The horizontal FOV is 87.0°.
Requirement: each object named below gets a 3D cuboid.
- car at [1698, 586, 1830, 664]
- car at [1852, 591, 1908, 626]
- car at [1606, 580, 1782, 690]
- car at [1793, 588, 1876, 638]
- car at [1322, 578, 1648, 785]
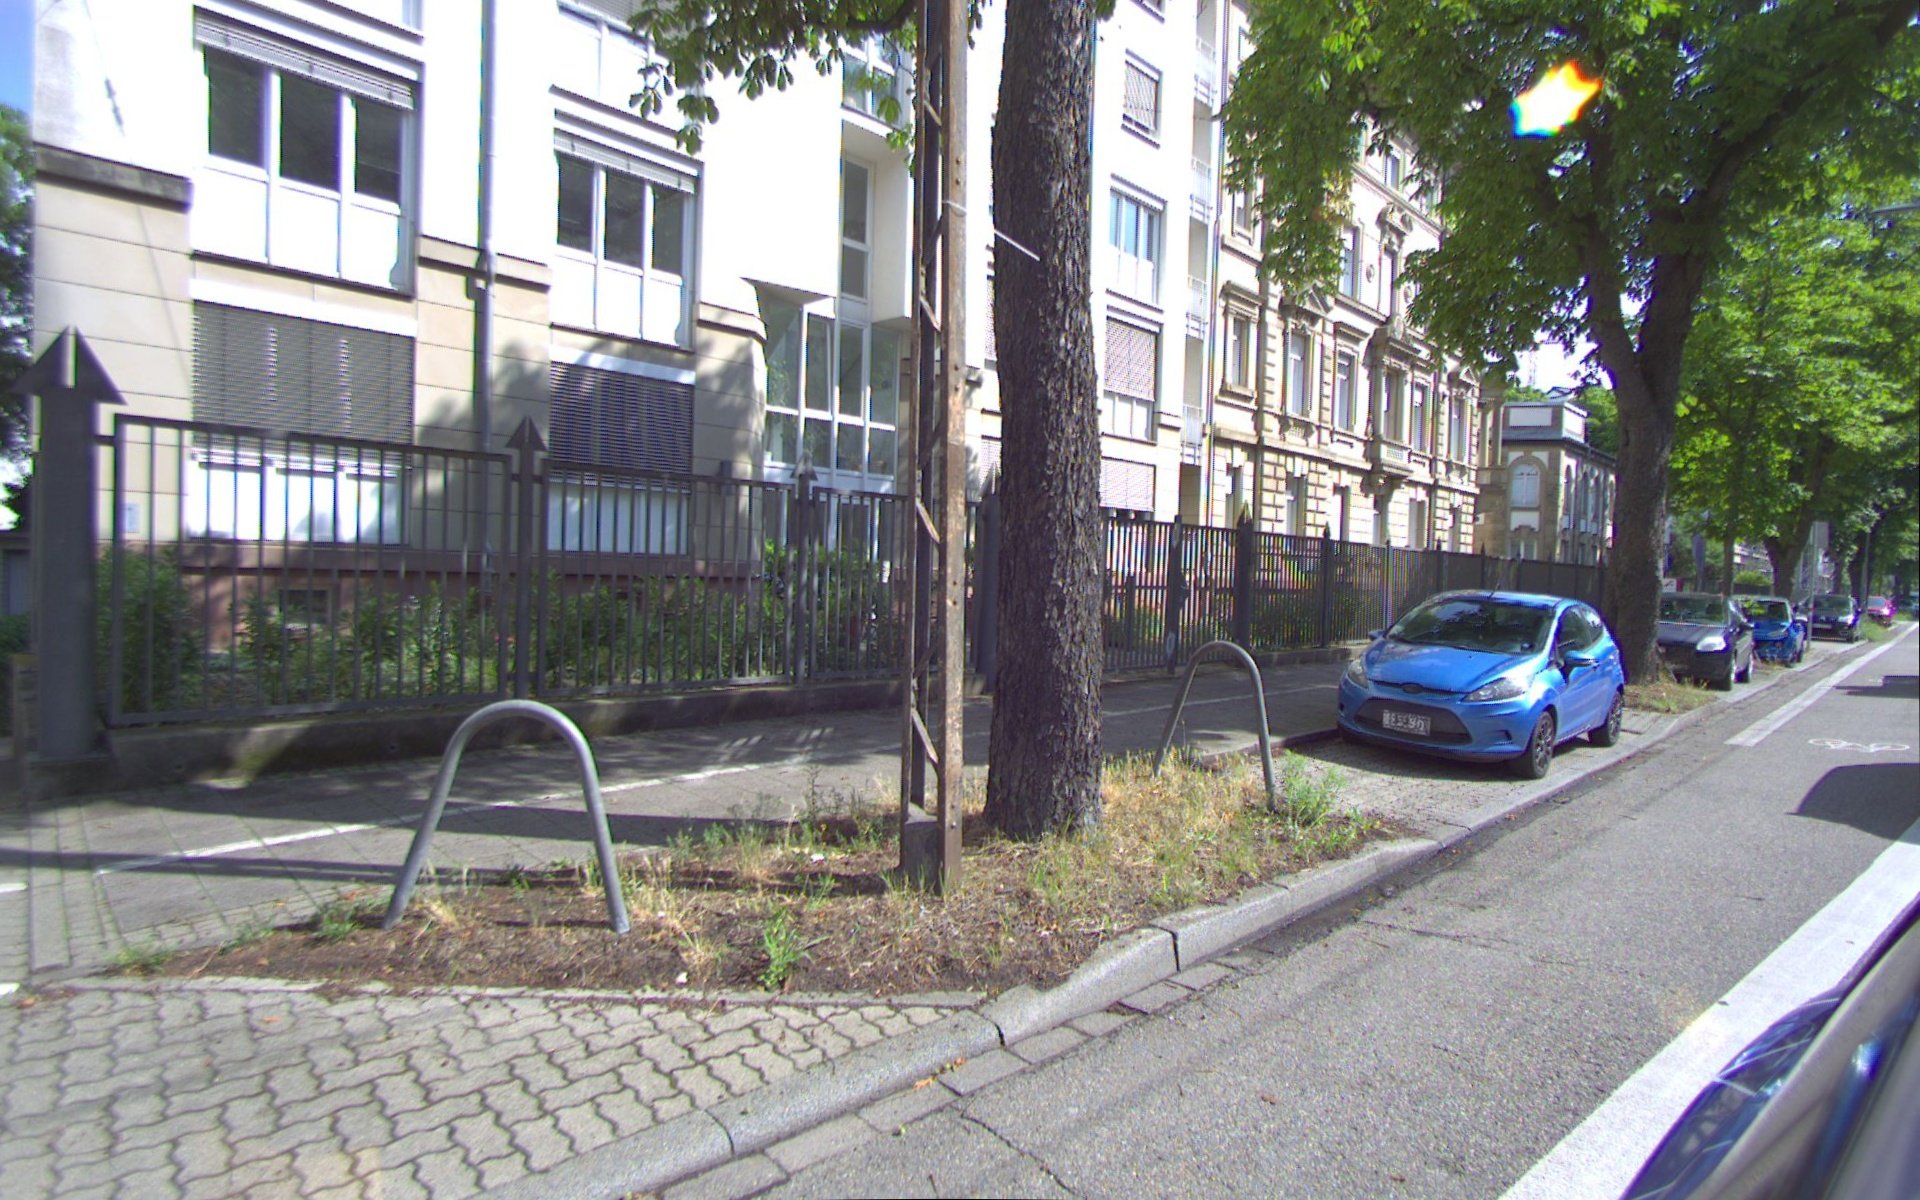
[{"bbox_3d":[17.816,0.491,22.362,3.861,1.469,1.722,0,4,-44],"label":"car"},{"bbox_3d":[46.833,0.400,51.485,4.130,1.591,1.772,0,4,-44],"label":"car"},{"bbox_3d":[12.163,0.499,16.705,3.562,1.526,1.643,0,4,-43],"label":"car"},{"bbox_3d":[30.844,0.426,35.656,4.130,1.549,1.772,0,4,-44],"label":"car"},{"bbox_3d":[5.034,0.594,9.490,1.639,1.472,3.639,5,4,45],"label":"car"}]
